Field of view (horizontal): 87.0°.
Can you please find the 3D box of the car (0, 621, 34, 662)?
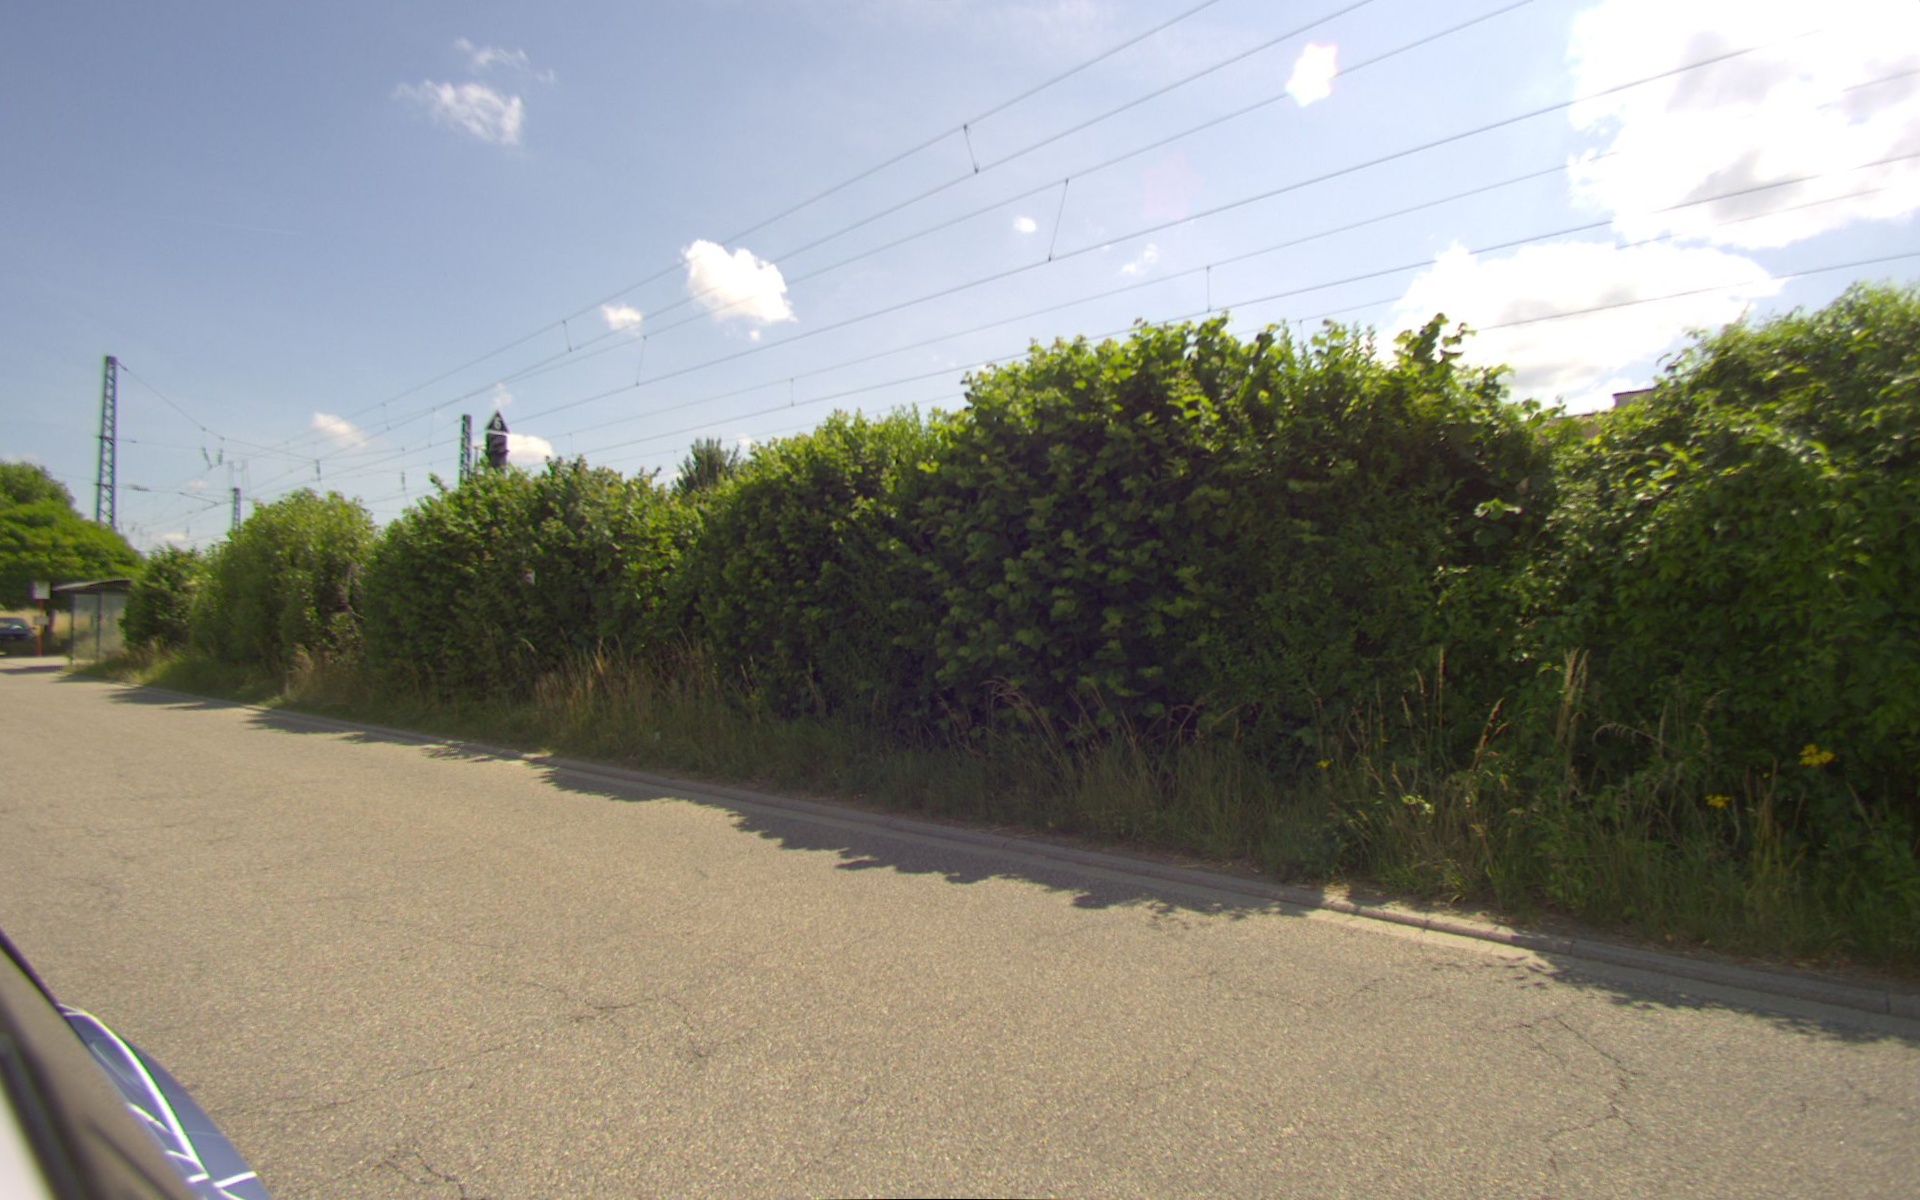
[{"bbox_3d":[-39.280,1.664,41.247,3.574,1.608,1.725,-1,-1,38],"label":"car"}]
